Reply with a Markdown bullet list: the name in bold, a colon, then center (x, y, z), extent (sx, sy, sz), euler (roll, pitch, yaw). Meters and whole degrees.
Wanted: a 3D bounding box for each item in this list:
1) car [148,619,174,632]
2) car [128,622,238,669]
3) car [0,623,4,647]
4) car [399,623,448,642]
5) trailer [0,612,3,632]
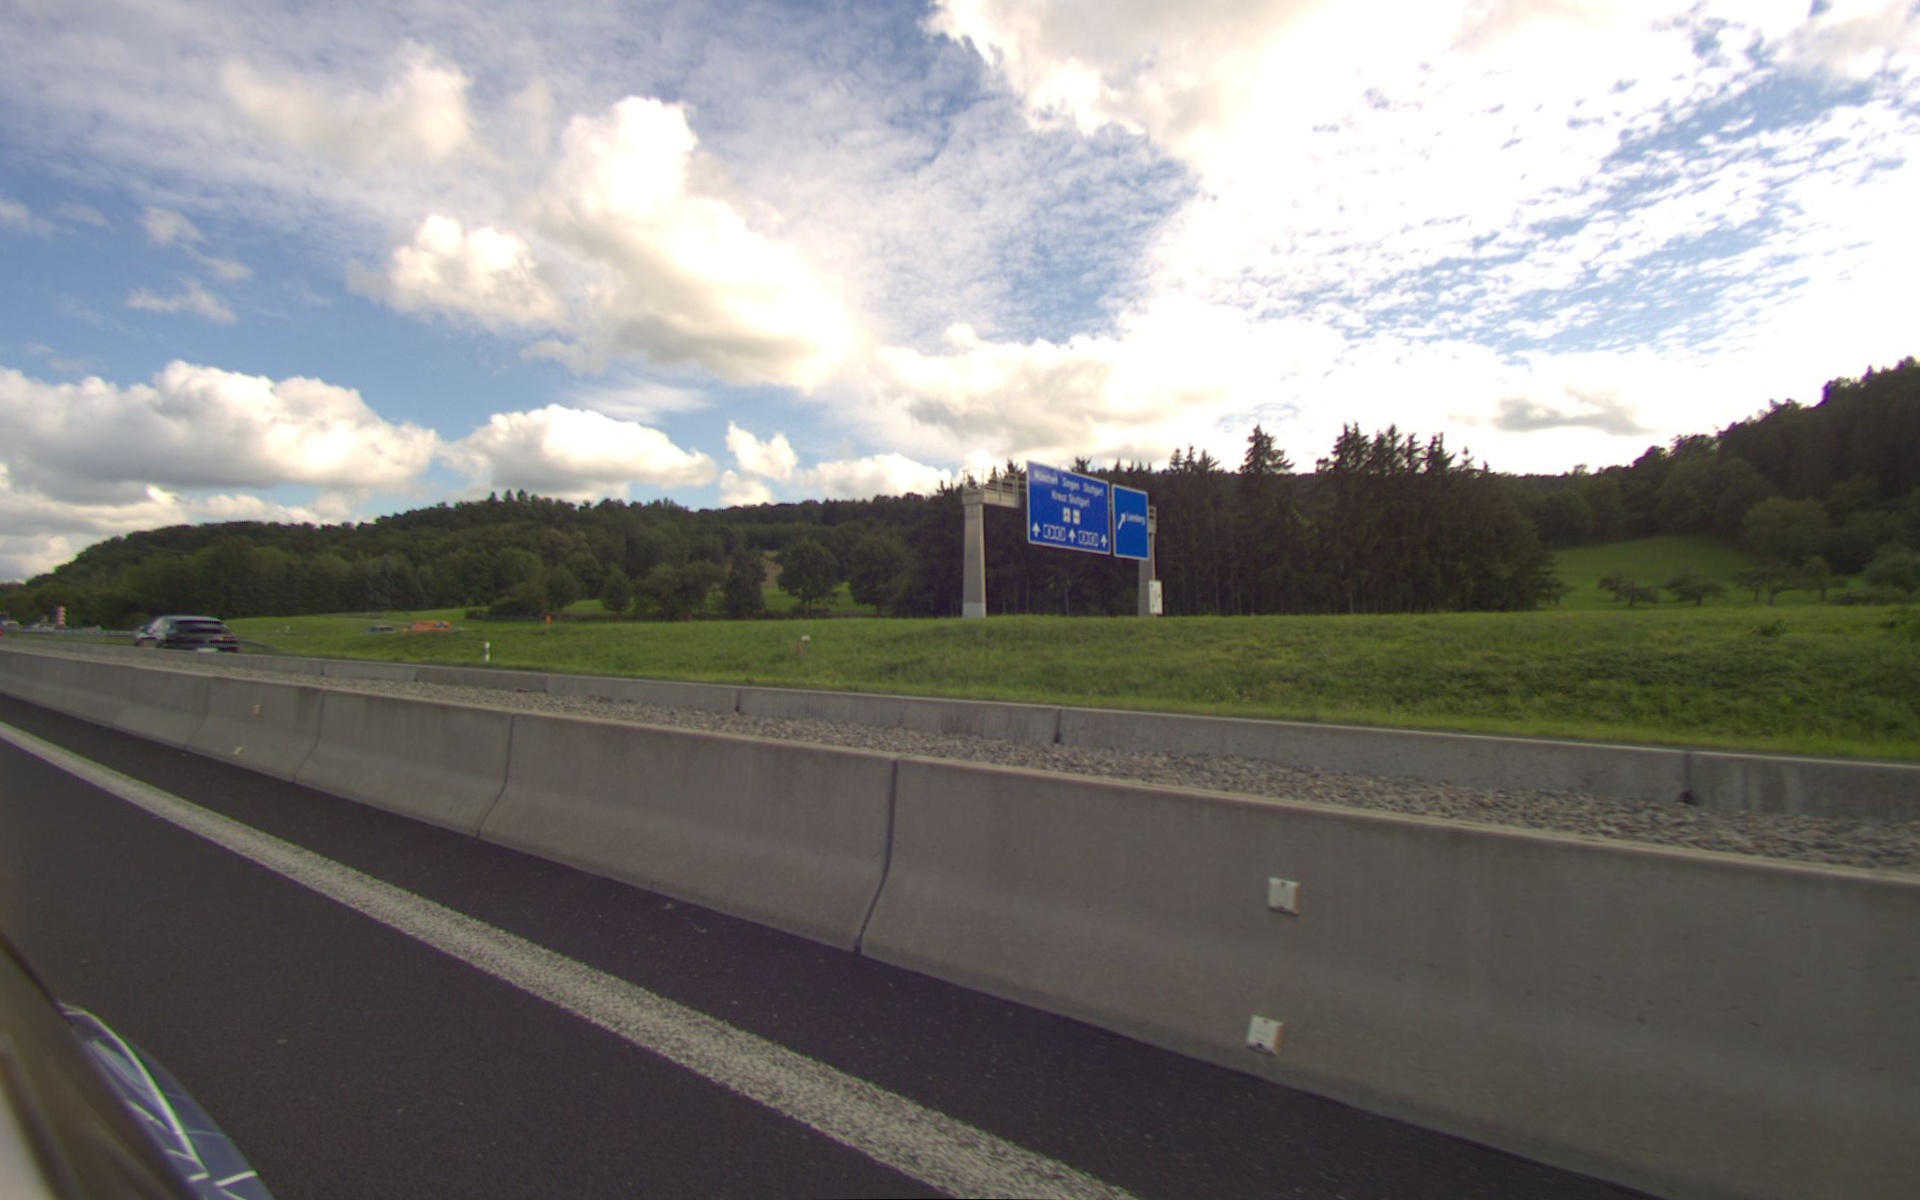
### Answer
- **car**: center (-119.723, 3.821, 151.668), extent (3.993, 2.029, 1.975), euler (-1, -3, 37)
- **car**: center (-24.736, 1.413, 32.156), extent (4.619, 1.409, 1.769), euler (-1, -3, 40)
- **car**: center (-58.603, 2.031, 60.308), extent (4.795, 1.409, 1.769), euler (-1, -3, 40)
- **car**: center (-47.103, 2.866, 88.854), extent (4.878, 1.560, 1.757), euler (-1, -3, 35)
- **trailer**: center (-183.700, 4.061, 191.060), extent (13.218, 3.765, 1.975), euler (-1, -3, 36)
